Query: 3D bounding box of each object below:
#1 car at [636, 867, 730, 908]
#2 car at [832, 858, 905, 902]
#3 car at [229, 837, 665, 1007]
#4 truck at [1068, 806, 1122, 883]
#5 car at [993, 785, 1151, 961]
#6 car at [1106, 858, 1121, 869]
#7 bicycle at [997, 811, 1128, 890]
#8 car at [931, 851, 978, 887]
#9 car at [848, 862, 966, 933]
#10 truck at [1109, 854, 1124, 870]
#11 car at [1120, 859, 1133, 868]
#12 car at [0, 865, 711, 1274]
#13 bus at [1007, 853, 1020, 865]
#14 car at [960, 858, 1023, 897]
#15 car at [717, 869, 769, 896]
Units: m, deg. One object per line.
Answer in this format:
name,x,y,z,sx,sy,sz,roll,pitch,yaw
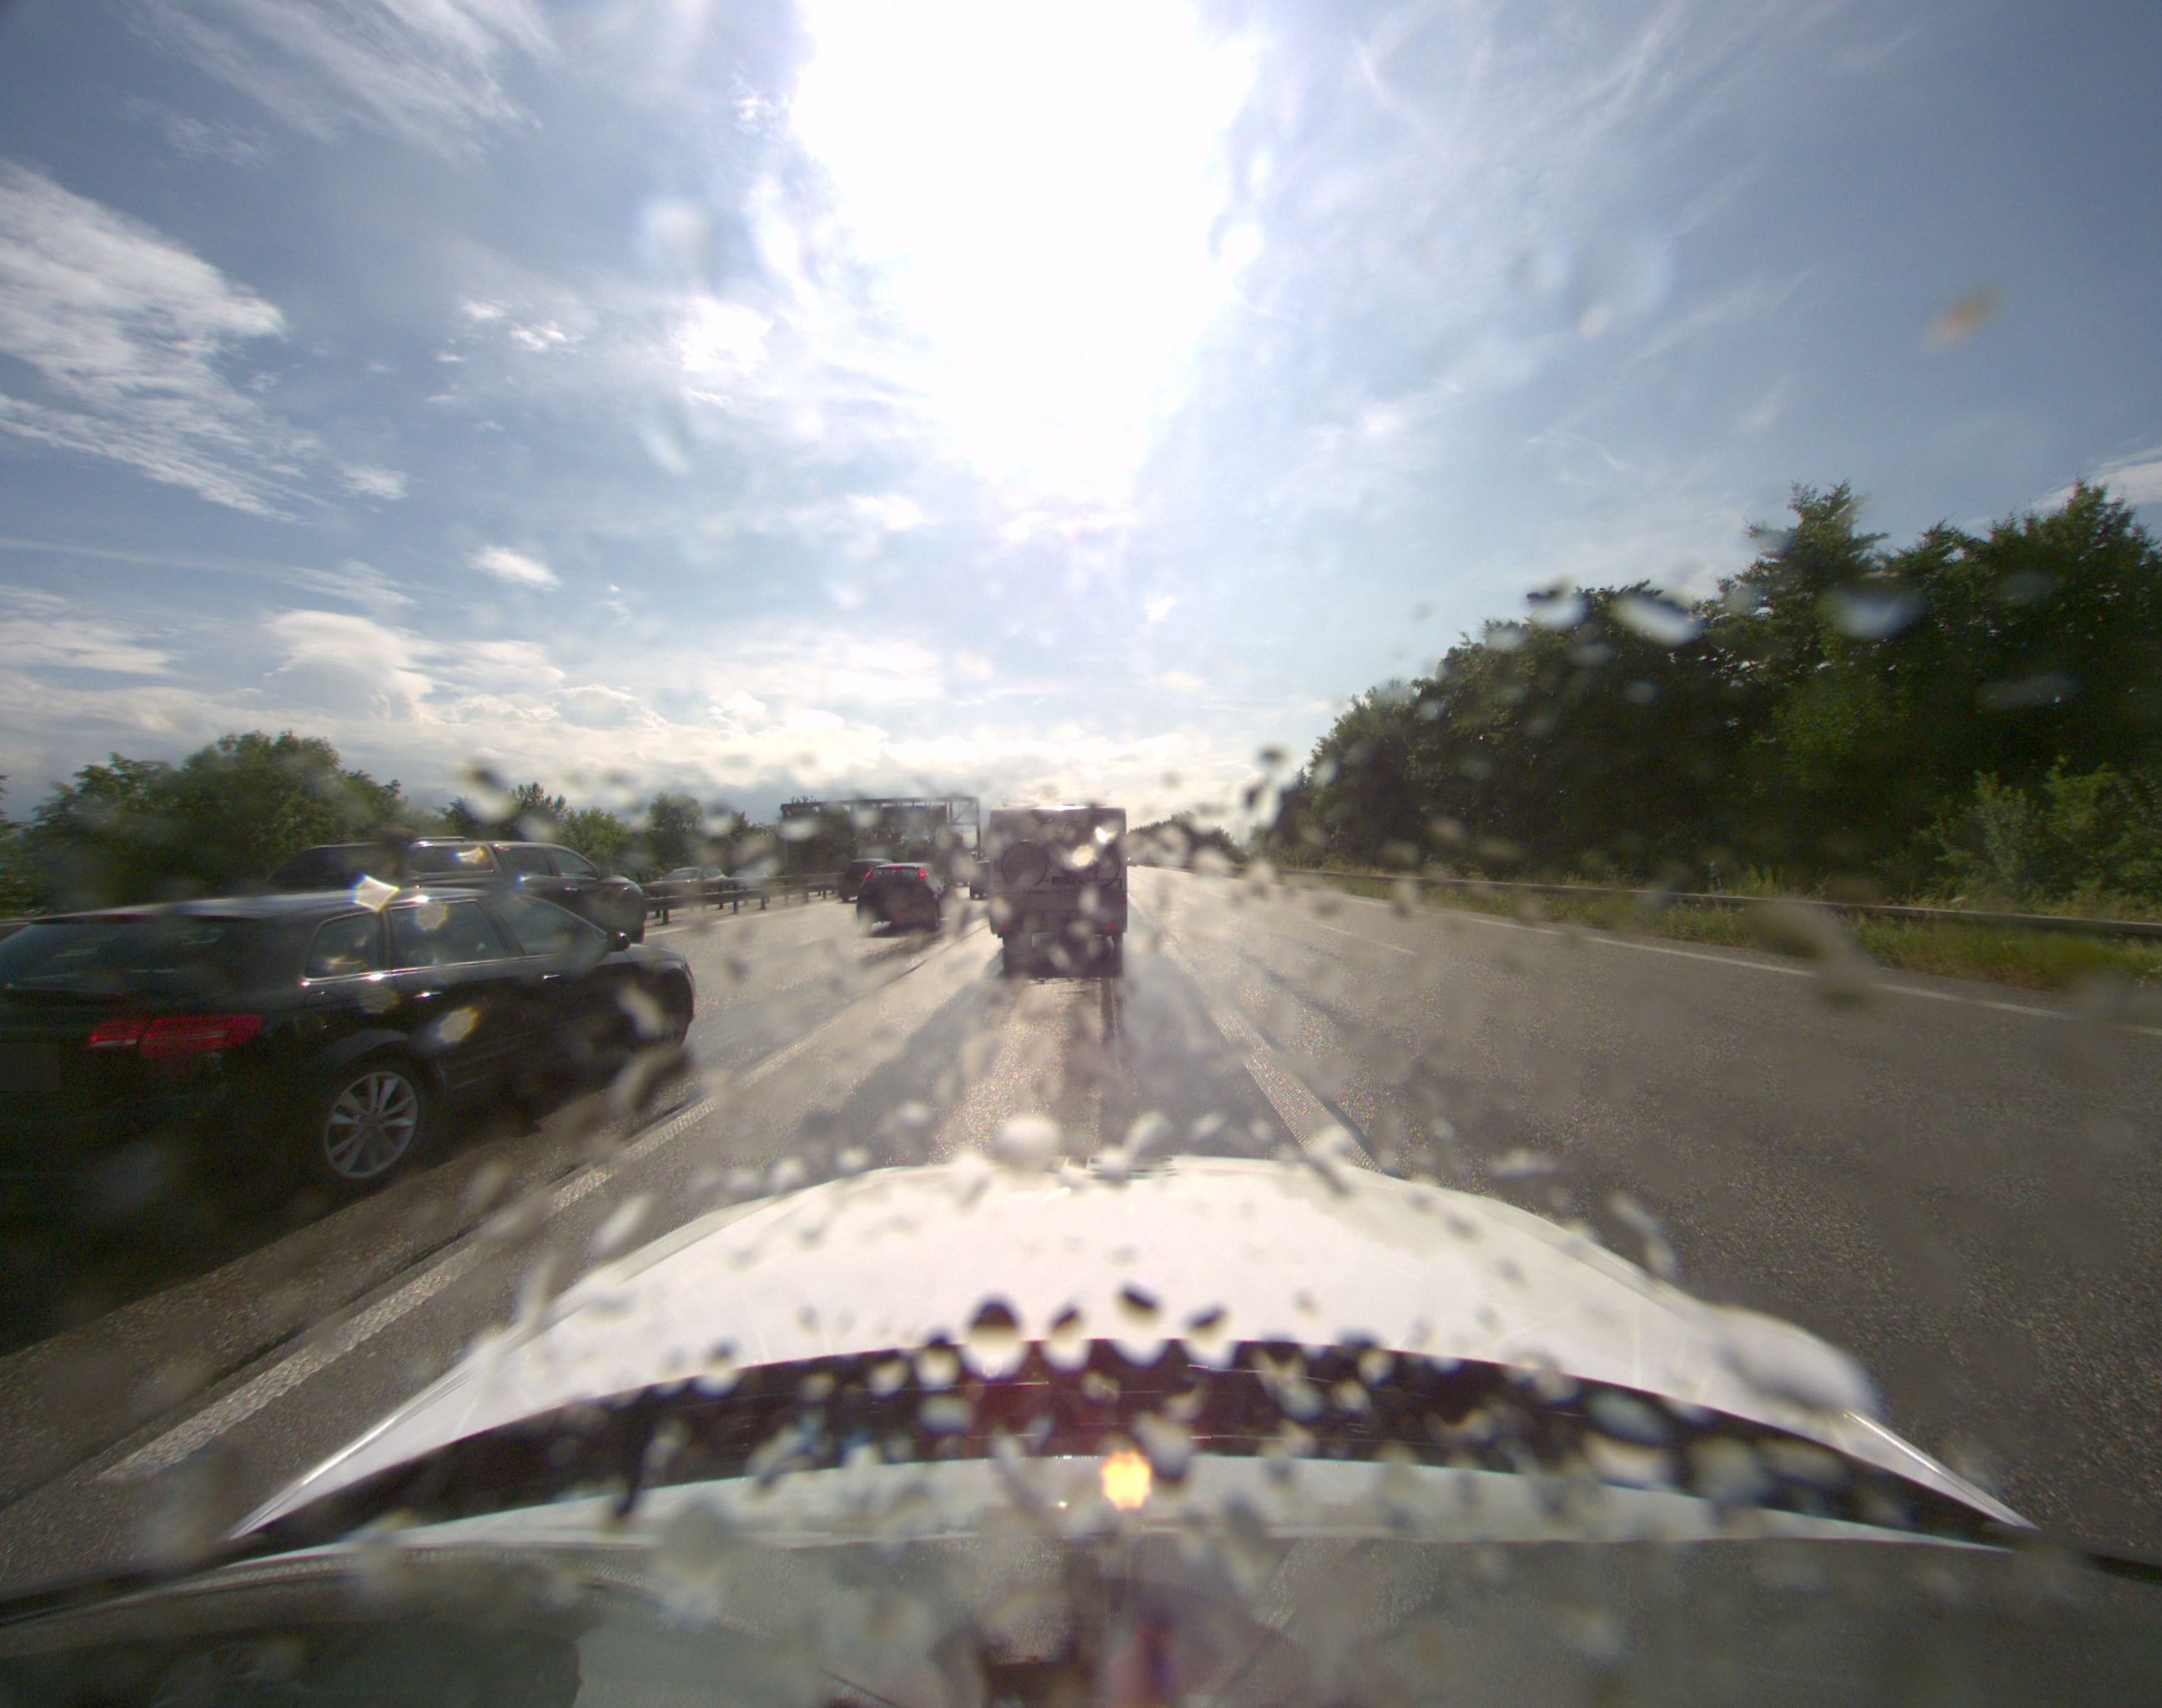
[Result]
car,-15.481,1.279,31.896,1.839,1.451,3.633,-1,0,0
car,-8.255,0.960,31.960,1.777,1.578,3.915,-1,0,0
car,-8.379,0.756,11.675,1.799,1.844,5.422,-1,0,3
truck,0.886,-0.530,54.390,3.136,4.626,10.735,-1,0,0
car,-0.066,0.311,14.435,2.401,2.674,4.002,0,-1,2
car,4.619,1.393,115.488,1.831,1.558,3.996,0,-1,-2
bicycle,-0.267,-0.047,12.244,1.926,1.141,0.384,-1,-1,2
car,-7.223,0.807,47.067,1.841,1.934,5.016,-1,0,1
car,-3.919,0.923,18.998,1.752,1.443,4.002,-1,0,2
truck,5.773,1.312,134.171,2.406,2.444,6.055,-1,0,2
car,7.851,1.647,140.880,1.871,1.494,3.998,0,-1,-1
car,-4.110,0.821,4.999,1.744,1.433,4.055,-1,0,1
bus,-19.647,1.521,238.648,2.930,3.286,12.206,-1,0,-1
car,-3.545,0.908,33.046,1.980,1.458,3.828,-1,0,2
car,-21.680,1.805,52.419,1.728,1.650,3.810,-1,0,0
